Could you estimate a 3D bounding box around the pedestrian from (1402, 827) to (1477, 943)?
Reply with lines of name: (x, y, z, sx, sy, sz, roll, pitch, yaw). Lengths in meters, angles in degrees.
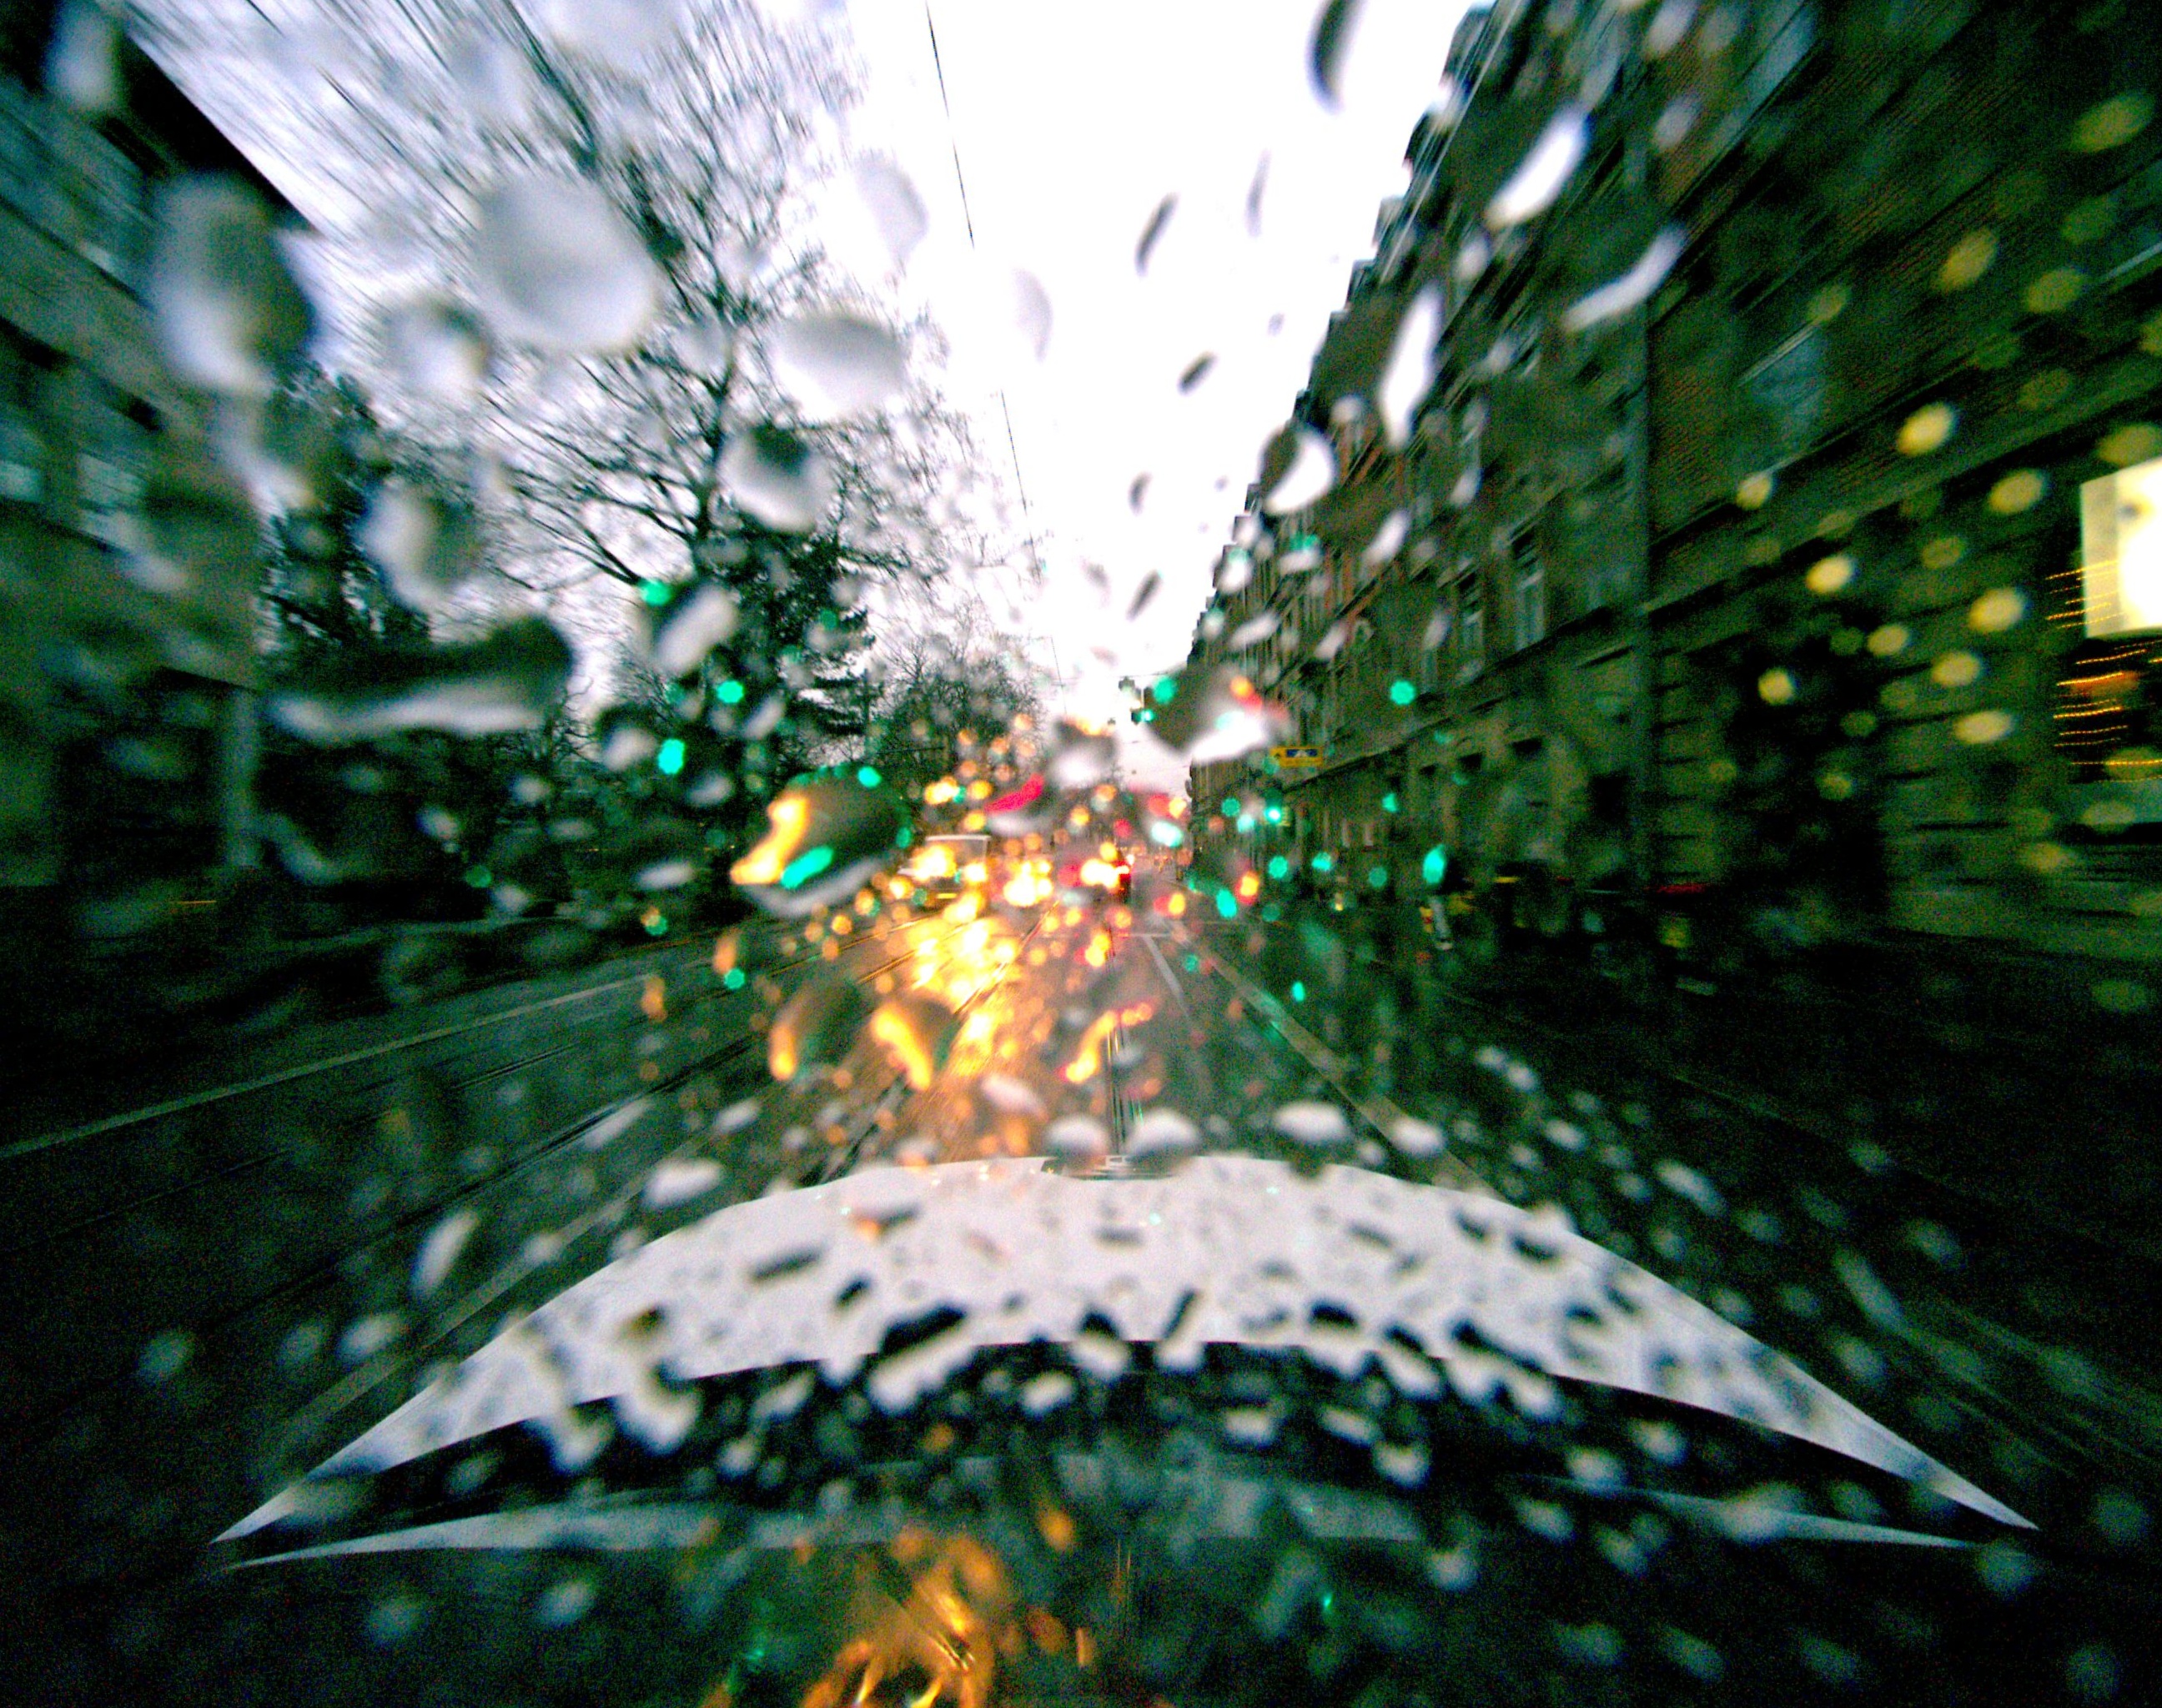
pedestrian: (5.456, 0.458, 12.449, 0.829, 1.701, 0.955, 0, -1, 10)

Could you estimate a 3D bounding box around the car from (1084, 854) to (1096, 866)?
car: (1.628, 0.981, 140.378, 1.986, 2.014, 4.001, 0, -1, 1)

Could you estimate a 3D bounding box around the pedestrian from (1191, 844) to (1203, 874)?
pedestrian: (7.515, 0.320, 52.880, 0.713, 1.953, 0.657, 0, -1, 1)

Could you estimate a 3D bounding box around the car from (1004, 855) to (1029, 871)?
car: (-6.732, 0.971, 85.833, 1.975, 1.615, 4.434, 0, -1, 4)

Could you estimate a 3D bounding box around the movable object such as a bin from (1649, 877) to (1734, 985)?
movable object such as a bin: (6.539, 0.799, 8.726, 0.614, 1.080, 0.487, -1, 0, -27)

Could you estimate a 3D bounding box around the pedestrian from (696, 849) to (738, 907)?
pedestrian: (-11.623, 0.757, 26.044, 0.816, 1.815, 1.011, 0, -1, 4)

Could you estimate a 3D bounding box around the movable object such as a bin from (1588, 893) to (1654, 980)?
movable object such as a bin: (6.146, 0.925, 9.273, 0.490, 0.929, 0.421, -1, 0, -25)

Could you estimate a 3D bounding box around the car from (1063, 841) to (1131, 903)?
car: (0.588, 0.540, 26.621, 1.985, 1.842, 4.004, -1, 0, 4)

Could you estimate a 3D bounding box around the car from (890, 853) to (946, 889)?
car: (-7.717, 0.792, 38.973, 1.979, 1.615, 4.424, 0, -1, -3)

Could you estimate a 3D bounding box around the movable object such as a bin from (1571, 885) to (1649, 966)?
movable object such as a bin: (6.373, 0.850, 9.825, 0.609, 0.929, 0.491, -1, 0, -1)

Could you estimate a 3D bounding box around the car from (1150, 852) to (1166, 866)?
car: (10.278, 0.701, 108.609, 1.985, 1.842, 4.004, -1, 0, 4)

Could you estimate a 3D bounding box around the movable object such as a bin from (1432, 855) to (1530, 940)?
movable object such as a bin: (6.473, 0.674, 13.263, 0.886, 1.288, 1.260, -1, 0, -6)

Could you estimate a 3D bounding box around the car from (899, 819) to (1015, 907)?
car: (-3.641, 0.280, 25.253, 2.437, 2.347, 5.847, -2, -1, 2)

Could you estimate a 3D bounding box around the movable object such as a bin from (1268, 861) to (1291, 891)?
movable object such as a bin: (6.998, 0.771, 28.783, 0.638, 1.055, 0.744, 0, -1, 1)

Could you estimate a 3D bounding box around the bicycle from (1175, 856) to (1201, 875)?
bicycle: (6.877, 0.738, 52.677, 0.795, 1.144, 2.229, 0, -1, -18)

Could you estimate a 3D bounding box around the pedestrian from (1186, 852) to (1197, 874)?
pedestrian: (8.903, 0.726, 65.731, 0.769, 1.775, 0.685, 0, -1, 1)

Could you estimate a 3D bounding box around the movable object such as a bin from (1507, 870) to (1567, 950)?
movable object such as a bin: (6.458, 0.789, 11.564, 0.606, 1.082, 0.602, -1, 0, 16)

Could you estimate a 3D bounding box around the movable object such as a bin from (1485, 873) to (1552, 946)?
movable object such as a bin: (6.531, 0.817, 12.194, 0.759, 1.038, 0.602, -1, 0, 16)

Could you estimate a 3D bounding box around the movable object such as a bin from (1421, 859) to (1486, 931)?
movable object such as a bin: (6.592, 0.709, 14.445, 0.762, 1.210, 0.819, -1, 0, 1)

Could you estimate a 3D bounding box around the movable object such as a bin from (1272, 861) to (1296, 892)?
movable object such as a bin: (6.979, 0.765, 28.015, 0.638, 1.055, 0.744, 0, -1, 1)

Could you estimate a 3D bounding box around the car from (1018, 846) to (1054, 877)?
car: (-3.008, 0.508, 55.261, 1.985, 2.014, 4.003, 0, -1, 3)

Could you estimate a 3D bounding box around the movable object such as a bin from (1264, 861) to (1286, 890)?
movable object such as a bin: (7.024, 0.766, 29.547, 0.638, 1.055, 0.744, 0, -1, 1)
